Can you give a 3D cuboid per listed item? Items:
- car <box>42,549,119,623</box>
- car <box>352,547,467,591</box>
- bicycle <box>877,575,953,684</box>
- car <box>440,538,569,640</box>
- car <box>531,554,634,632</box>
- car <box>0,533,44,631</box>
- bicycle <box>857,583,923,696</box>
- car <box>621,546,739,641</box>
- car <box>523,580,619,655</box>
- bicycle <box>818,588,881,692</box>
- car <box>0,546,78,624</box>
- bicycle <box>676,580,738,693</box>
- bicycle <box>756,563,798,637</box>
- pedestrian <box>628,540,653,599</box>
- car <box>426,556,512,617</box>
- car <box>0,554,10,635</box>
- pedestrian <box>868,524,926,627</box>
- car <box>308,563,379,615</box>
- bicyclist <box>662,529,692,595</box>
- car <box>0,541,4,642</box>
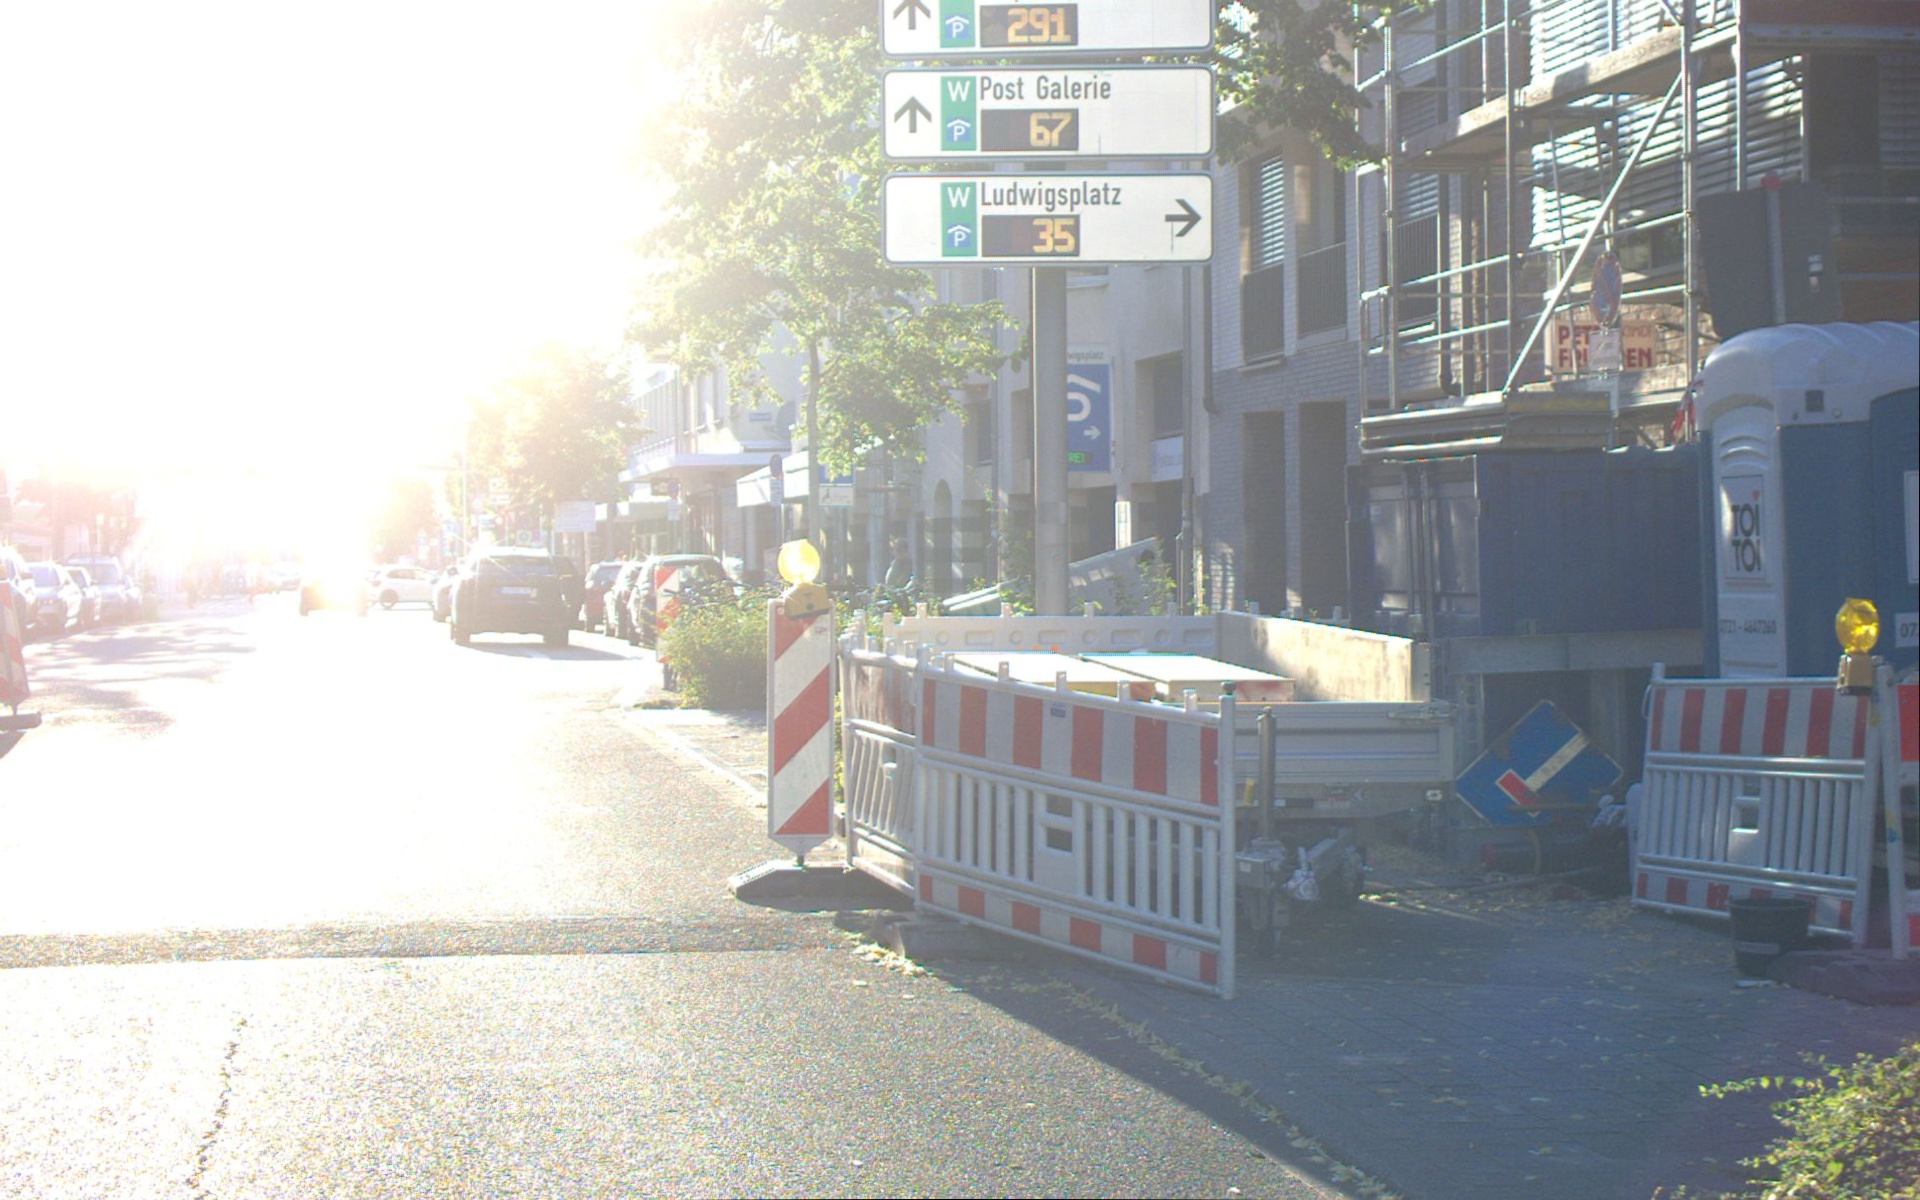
[{"bbox_3d":[-22.608,-0.369,88.429,1.832,1.848,4.125,0,0,-13],"label":"car"},{"bbox_3d":[-19.167,-1.090,119.798,3.612,1.478,1.634,-1,2,-40],"label":"car"},{"bbox_3d":[-0.477,0.297,35.886,0.381,1.096,1.523,-1,1,-17],"label":"bicycle"},{"bbox_3d":[-7.910,-0.207,59.426,1.994,1.649,4.675,1,0,-10],"label":"car"},{"bbox_3d":[-7.219,-0.154,65.484,1.633,1.419,3.759,-1,1,-11],"label":"car"},{"bbox_3d":[-18.924,-0.342,66.787,1.827,1.804,5.350,-2,1,-12],"label":"car"},{"bbox_3d":[-0.766,0.416,37.200,0.381,1.185,1.523,0,0,-14],"label":"bicycle"},{"bbox_3d":[-4.809,-0.121,58.802,1.632,1.548,2.695,-1,1,-12],"label":"car"},{"bbox_3d":[-8.215,0.342,72.388,1.703,1.431,3.933,-3,1,-10],"label":"car"},{"bbox_3d":[-1.203,0.416,37.122,0.381,1.096,1.523,0,0,-13],"label":"bicycle"},{"bbox_3d":[-20.036,-0.330,73.340,1.827,1.551,5.137,-2,1,-9],"label":"car"},{"bbox_3d":[-2.556,0.355,34.608,0.381,1.096,1.523,-1,1,-13],"label":"bicycle"},{"bbox_3d":[-3.102,-0.011,58.143,0.397,1.230,1.826,-1,1,-12],"label":"bicycle"},{"bbox_3d":[-9.496,-0.901,102.222,0.688,1.716,0.717,-1,0,-4],"label":"pedestrian"},{"bbox_3d":[-11.998,-0.337,83.806,1.921,1.410,4.549,2,0,-10],"label":"car"},{"bbox_3d":[-17.896,-0.057,60.689,1.713,1.435,4.311,-2,1,-10],"label":"car"},{"bbox_3d":[-1.040,-0.400,56.481,0.810,1.641,0.606,-2,0,-10],"label":"pedestrian"},{"bbox_3d":[-17.127,-0.318,95.604,1.883,1.410,4.326,0,0,-10],"label":"car"},{"bbox_3d":[-7.293,-0.976,88.562,0.650,1.696,1.096,-1,0,-10],"label":"bicyclist"},{"bbox_3d":[-16.025,-0.106,53.450,1.773,1.627,4.239,-1,1,-9],"label":"car"}]
